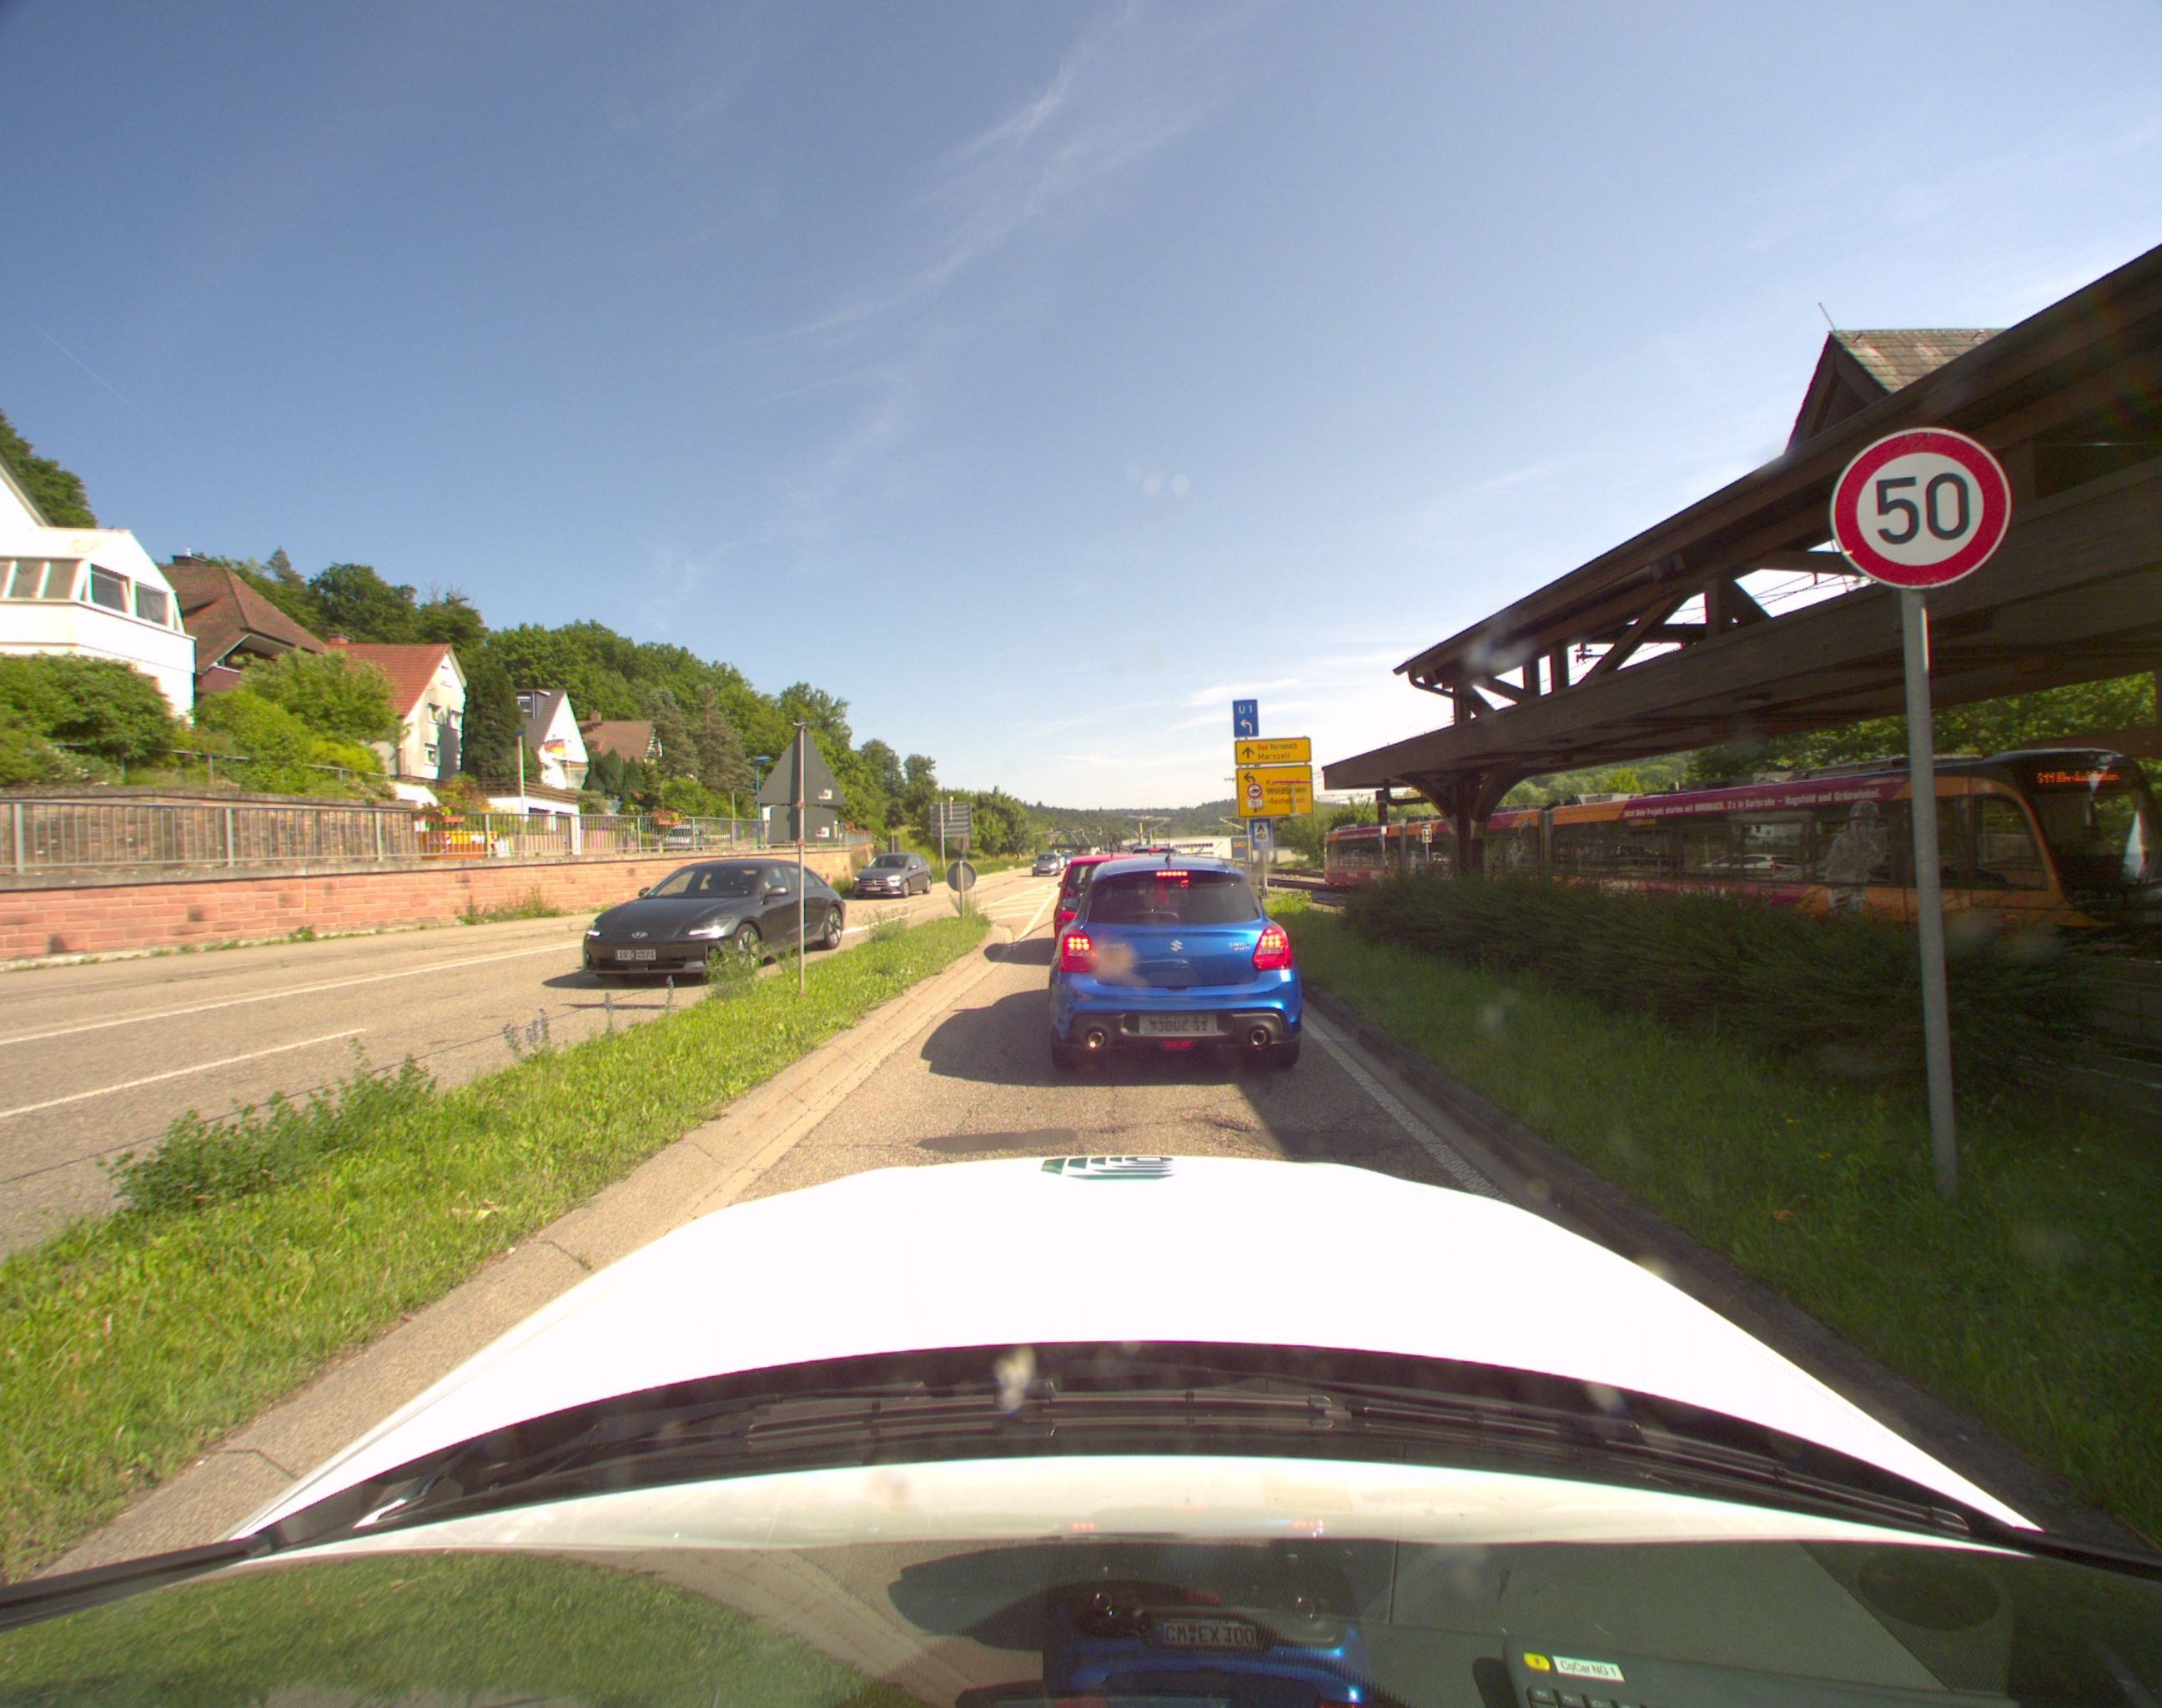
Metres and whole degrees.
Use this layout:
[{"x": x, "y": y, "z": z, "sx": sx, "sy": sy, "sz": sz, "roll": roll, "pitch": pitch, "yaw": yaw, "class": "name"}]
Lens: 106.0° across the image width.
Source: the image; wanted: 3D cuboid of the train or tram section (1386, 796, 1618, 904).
[{"x": 15.456, "y": -0.089, "z": 31.550, "sx": 2.777, "sy": 3.364, "sz": 12.045, "roll": 0, "pitch": 0, "yaw": 0, "class": "train or tram section"}]

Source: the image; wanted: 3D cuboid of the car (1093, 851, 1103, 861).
[{"x": 3.426, "y": 0.425, "z": 162.998, "sx": 1.986, "sy": 1.816, "sz": 4.002, "roll": 0, "pitch": 1, "yaw": 2, "class": "car"}]

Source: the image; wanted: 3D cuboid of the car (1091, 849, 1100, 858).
[{"x": 3.194, "y": -0.090, "z": 181.367, "sx": 1.986, "sy": 2.144, "sz": 4.722, "roll": 0, "pitch": 0, "yaw": 2, "class": "car"}]

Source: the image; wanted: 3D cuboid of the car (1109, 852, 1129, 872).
[{"x": 3.931, "y": 0.791, "z": 85.422, "sx": 1.986, "sy": 2.013, "sz": 4.002, "roll": 0, "pitch": 1, "yaw": 2, "class": "car"}]

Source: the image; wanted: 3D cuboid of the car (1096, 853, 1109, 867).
[{"x": 3.224, "y": 0.861, "z": 121.132, "sx": 1.986, "sy": 2.013, "sz": 4.002, "roll": 0, "pitch": 1, "yaw": 2, "class": "car"}]

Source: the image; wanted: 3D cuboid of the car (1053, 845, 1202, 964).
[{"x": 0.735, "y": 0.674, "z": 12.822, "sx": 1.985, "sy": 1.571, "sz": 4.004, "roll": 0, "pitch": 0, "yaw": 3, "class": "car"}]

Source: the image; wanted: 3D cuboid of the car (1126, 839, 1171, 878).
[{"x": 3.105, "y": 0.186, "z": 38.174, "sx": 1.985, "sy": 1.736, "sz": 4.004, "roll": 1, "pitch": 0, "yaw": 3, "class": "car"}]

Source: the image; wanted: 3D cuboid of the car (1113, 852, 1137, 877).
[{"x": 3.783, "y": 0.843, "z": 70.540, "sx": 1.986, "sy": 2.013, "sz": 4.002, "roll": 0, "pitch": 1, "yaw": 2, "class": "car"}]

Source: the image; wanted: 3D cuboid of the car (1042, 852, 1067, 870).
[{"x": -2.233, "y": 0.591, "z": 69.329, "sx": 1.825, "sy": 1.369, "sz": 3.953, "roll": 0, "pitch": 1, "yaw": 3, "class": "car"}]

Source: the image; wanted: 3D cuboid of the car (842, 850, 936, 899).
[{"x": -6.738, "y": 0.674, "z": 29.134, "sx": 1.985, "sy": 1.564, "sz": 4.514, "roll": -1, "pitch": 0, "yaw": 4, "class": "car"}]

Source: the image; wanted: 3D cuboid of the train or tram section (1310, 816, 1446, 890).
[{"x": 15.340, "y": -0.110, "z": 43.403, "sx": 2.747, "sy": 3.364, "sz": 12.044, "roll": 0, "pitch": 1, "yaw": -1, "class": "train or tram section"}]

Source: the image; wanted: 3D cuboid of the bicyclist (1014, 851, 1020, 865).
[{"x": -7.091, "y": 0.425, "z": 90.089, "sx": 0.627, "sy": 1.507, "sz": 0.506, "roll": 0, "pitch": 1, "yaw": -2, "class": "bicyclist"}]

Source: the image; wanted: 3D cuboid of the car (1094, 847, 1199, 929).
[{"x": 1.404, "y": 0.647, "z": 18.078, "sx": 1.985, "sy": 1.531, "sz": 4.606, "roll": -2, "pitch": 0, "yaw": 3, "class": "car"}]

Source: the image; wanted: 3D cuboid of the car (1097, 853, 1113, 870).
[{"x": 2.975, "y": 0.875, "z": 102.002, "sx": 1.986, "sy": 2.013, "sz": 4.002, "roll": 0, "pitch": 1, "yaw": 2, "class": "car"}]

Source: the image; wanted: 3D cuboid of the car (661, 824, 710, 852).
[{"x": -24.468, "y": -0.976, "z": 50.493, "sx": 1.898, "sy": 1.629, "sz": 3.981, "roll": -1, "pitch": 0, "yaw": -14, "class": "car"}]

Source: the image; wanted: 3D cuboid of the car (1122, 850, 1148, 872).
[{"x": 3.884, "y": 0.463, "z": 58.692, "sx": 1.824, "sy": 1.493, "sz": 3.815, "roll": 1, "pitch": 1, "yaw": 4, "class": "car"}]

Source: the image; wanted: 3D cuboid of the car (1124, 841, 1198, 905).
[{"x": 2.283, "y": 0.491, "z": 24.147, "sx": 1.985, "sy": 1.686, "sz": 4.501, "roll": 1, "pitch": 0, "yaw": 3, "class": "car"}]

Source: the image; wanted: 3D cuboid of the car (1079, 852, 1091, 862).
[{"x": 0.706, "y": 0.482, "z": 140.392, "sx": 1.986, "sy": 1.783, "sz": 4.002, "roll": 0, "pitch": 0, "yaw": 2, "class": "car"}]

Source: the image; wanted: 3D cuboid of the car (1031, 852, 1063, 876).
[{"x": -2.142, "y": 0.638, "z": 52.647, "sx": 1.665, "sy": 1.441, "sz": 3.843, "roll": -1, "pitch": 0, "yaw": 3, "class": "car"}]

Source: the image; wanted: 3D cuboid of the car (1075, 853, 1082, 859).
[{"x": -0.857, "y": 0.639, "z": 251.543, "sx": 1.986, "sy": 2.013, "sz": 4.002, "roll": 0, "pitch": 0, "yaw": 2, "class": "car"}]

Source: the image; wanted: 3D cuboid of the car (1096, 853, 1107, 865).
[{"x": 3.611, "y": 0.914, "z": 143.416, "sx": 1.986, "sy": 2.013, "sz": 4.002, "roll": 0, "pitch": 1, "yaw": 2, "class": "car"}]

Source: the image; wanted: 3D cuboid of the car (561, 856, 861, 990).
[{"x": -4.861, "y": 0.797, "z": 11.626, "sx": 1.783, "sy": 1.470, "sz": 4.722, "roll": -1, "pitch": 0, "yaw": 5, "class": "car"}]

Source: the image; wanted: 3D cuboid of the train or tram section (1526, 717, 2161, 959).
[{"x": 15.546, "y": -0.249, "z": 18.556, "sx": 2.847, "sy": 3.365, "sz": 14.349, "roll": -1, "pitch": 0, "yaw": -1, "class": "train or tram section"}]

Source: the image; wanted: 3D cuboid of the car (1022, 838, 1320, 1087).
[{"x": 0.608, "y": 0.676, "z": 7.151, "sx": 1.862, "sy": 1.548, "sz": 4.001, "roll": -1, "pitch": 0, "yaw": 1, "class": "car"}]

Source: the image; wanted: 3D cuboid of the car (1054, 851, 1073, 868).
[{"x": -1.688, "y": 0.532, "z": 80.937, "sx": 1.827, "sy": 1.468, "sz": 3.811, "roll": 1, "pitch": 2, "yaw": 0, "class": "car"}]

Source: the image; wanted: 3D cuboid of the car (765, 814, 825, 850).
[{"x": -16.110, "y": -1.237, "z": 46.120, "sx": 2.017, "sy": 1.920, "sz": 4.724, "roll": 0, "pitch": 1, "yaw": -5, "class": "car"}]
